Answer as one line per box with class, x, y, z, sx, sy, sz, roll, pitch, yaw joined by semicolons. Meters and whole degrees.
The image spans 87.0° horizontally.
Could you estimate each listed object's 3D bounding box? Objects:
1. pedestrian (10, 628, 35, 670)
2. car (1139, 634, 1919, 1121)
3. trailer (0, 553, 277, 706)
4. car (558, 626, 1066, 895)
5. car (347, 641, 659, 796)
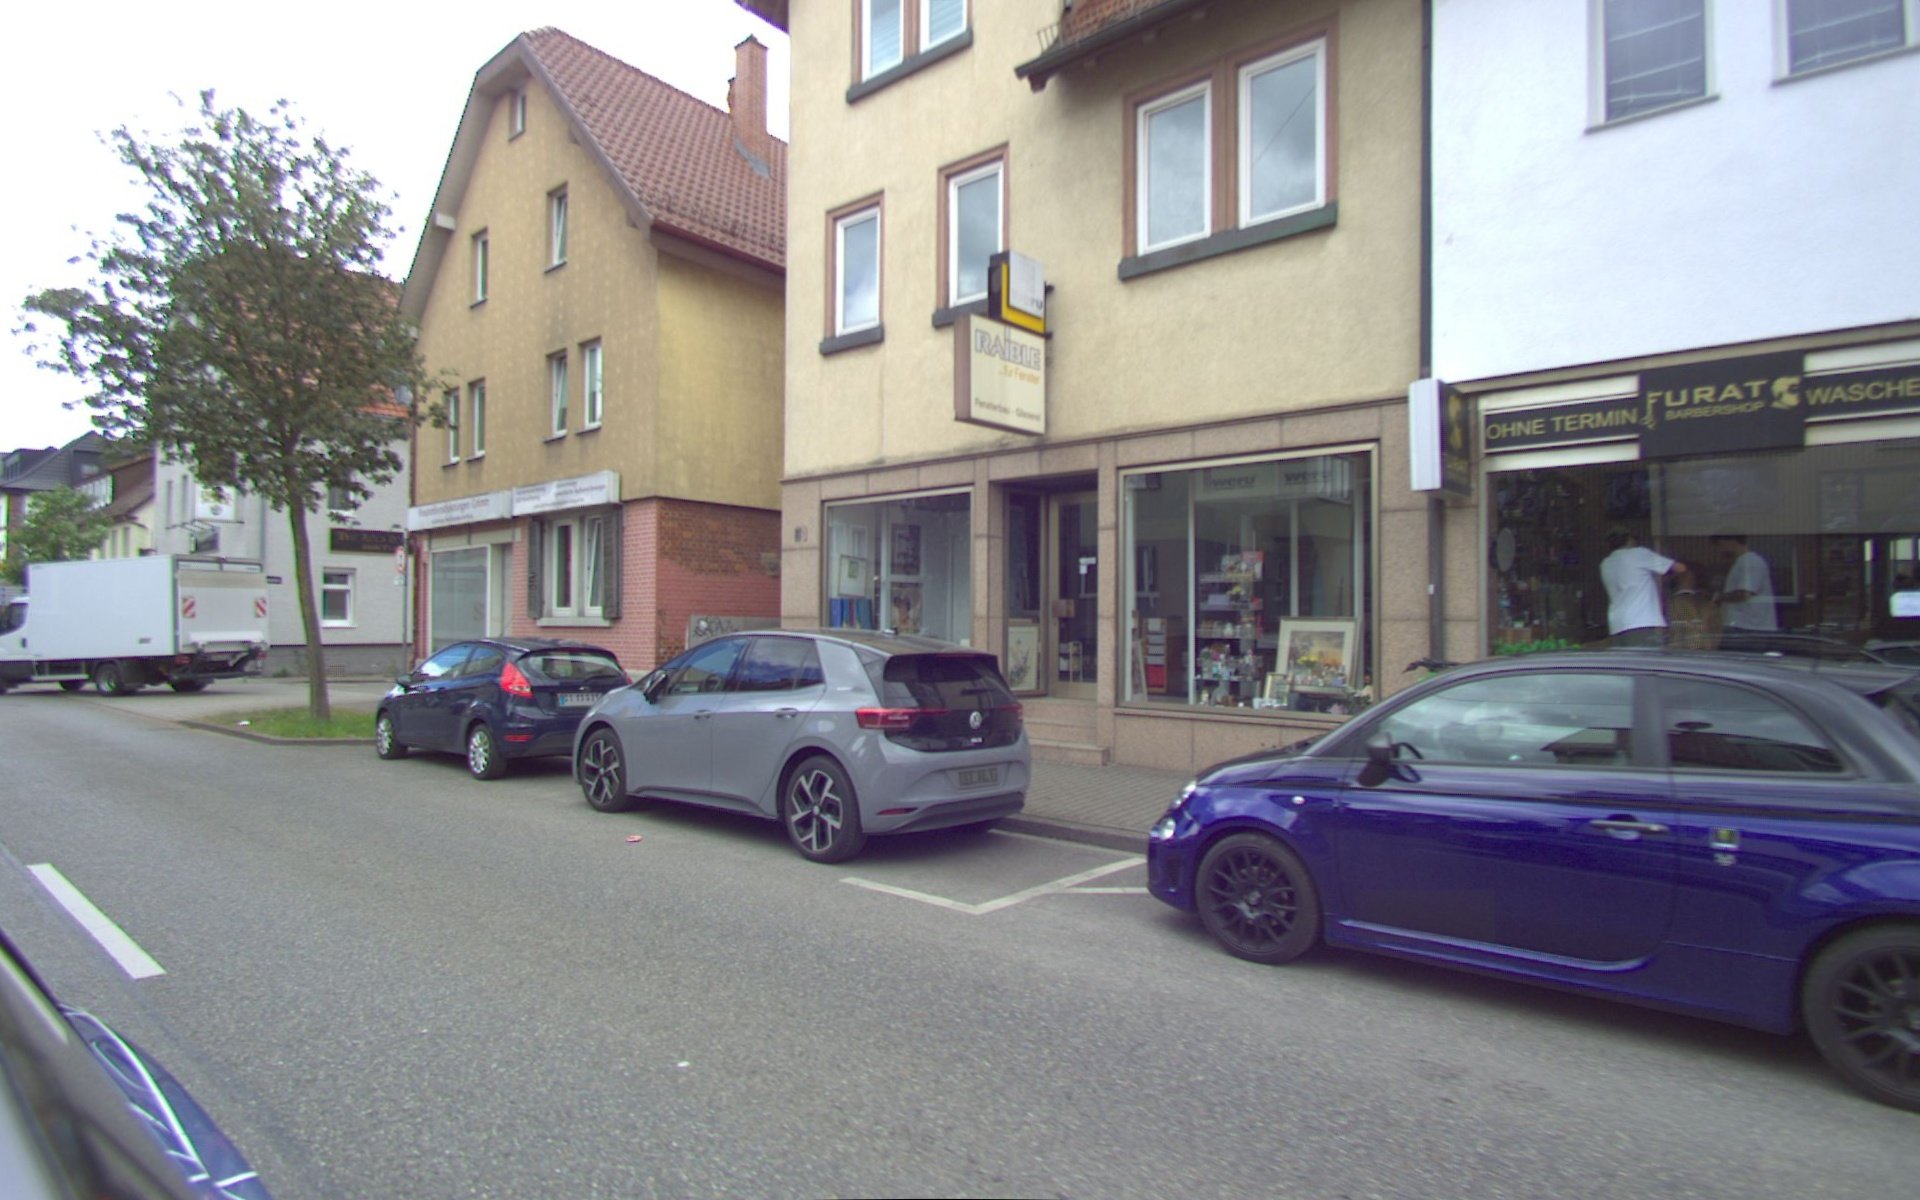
pedestrian;-39.590;2.058;42.740;0.717;1.750;0.671;-2;-3;40
car;2.782;0.927;4.471;3.590;1.505;1.664;-2;-4;41
trailer;-19.913;0.644;23.685;7.069;3.244;2.499;0;-1;15
car;-1.336;1.022;7.964;4.112;1.578;1.692;-2;-4;41
car;-5.288;1.214;11.515;3.928;1.435;1.665;-1;-4;40
